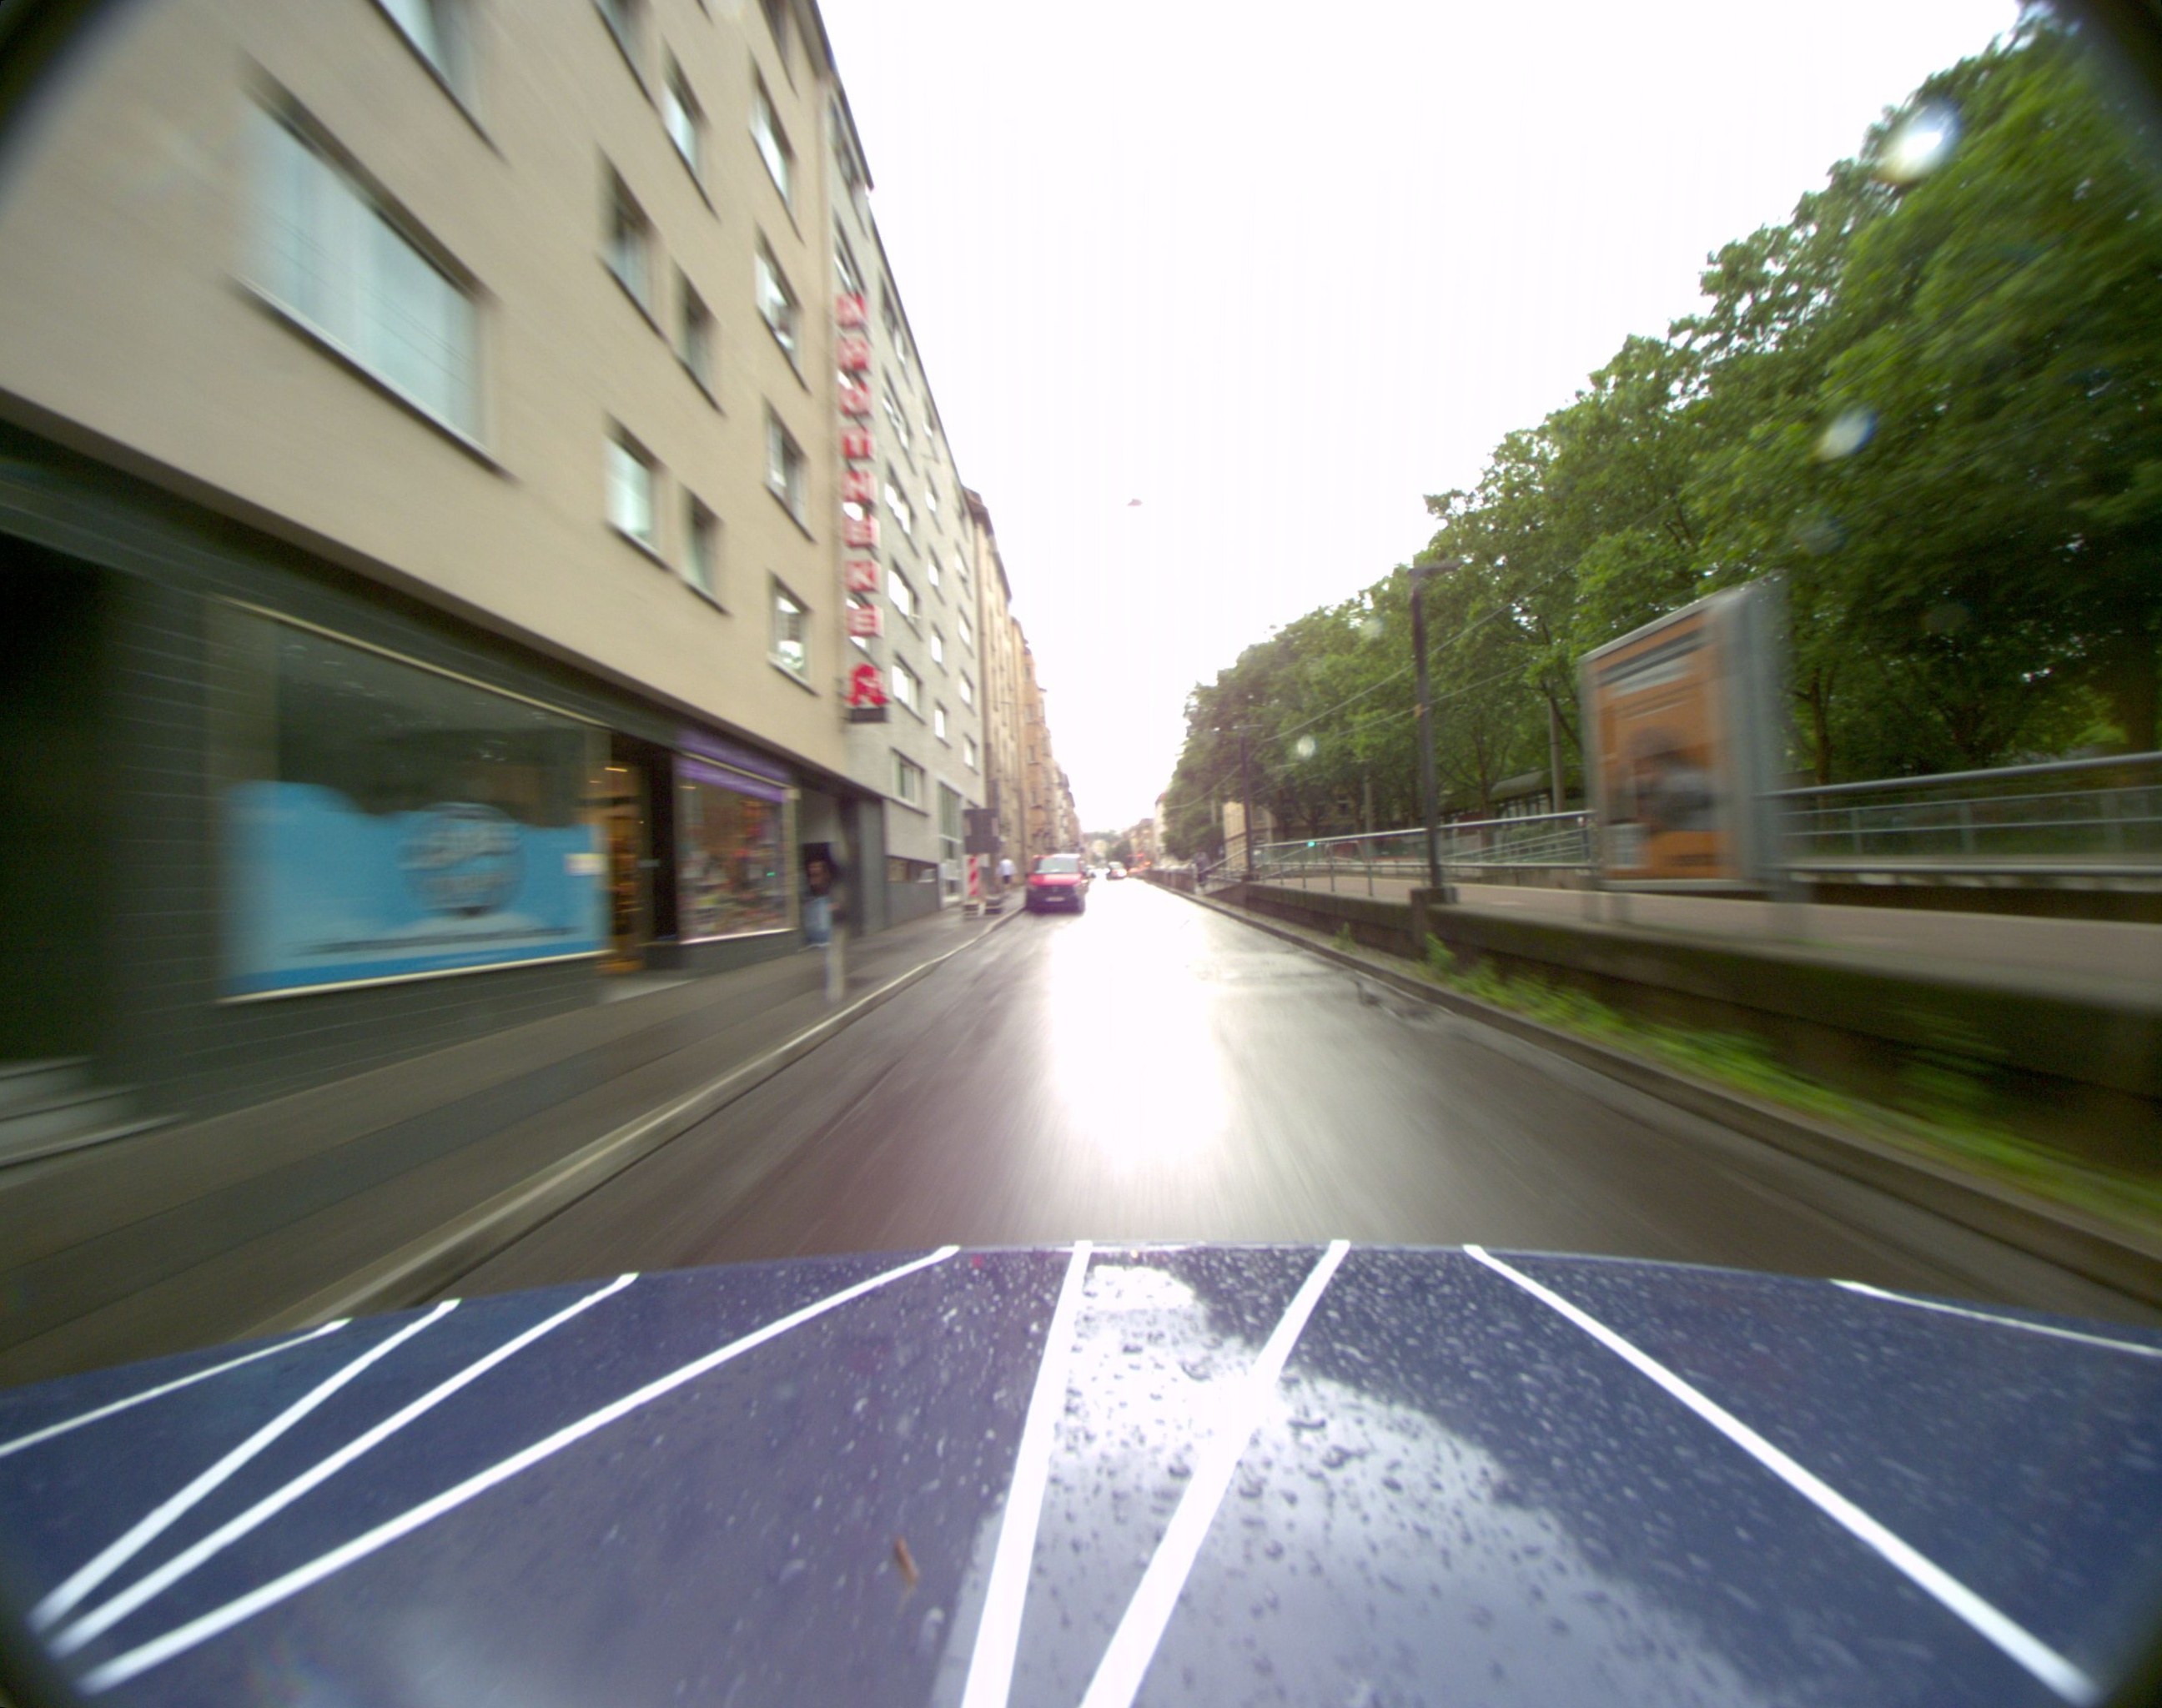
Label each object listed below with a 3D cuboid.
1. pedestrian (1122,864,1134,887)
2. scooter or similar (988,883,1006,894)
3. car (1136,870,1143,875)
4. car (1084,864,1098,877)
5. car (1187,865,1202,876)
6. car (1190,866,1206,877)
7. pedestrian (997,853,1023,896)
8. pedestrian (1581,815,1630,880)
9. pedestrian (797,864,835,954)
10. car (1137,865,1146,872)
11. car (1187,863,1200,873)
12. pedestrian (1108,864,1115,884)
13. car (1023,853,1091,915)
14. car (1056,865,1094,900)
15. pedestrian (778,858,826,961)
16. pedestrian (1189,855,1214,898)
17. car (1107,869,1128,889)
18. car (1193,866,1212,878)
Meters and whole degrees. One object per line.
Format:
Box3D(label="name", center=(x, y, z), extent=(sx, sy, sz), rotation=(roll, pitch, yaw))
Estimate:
Box3D(label="pedestrian", center=(3.548, 1.635, 57.371), extent=(0.651, 1.694, 0.662), rotation=(-3, -1, 24))
Box3D(label="scooter or similar", center=(-3.937, 1.617, 35.531), extent=(0.858, 0.503, 0.258), rotation=(-2, 0, 32))
Box3D(label="car", center=(16.566, 5.262, 214.984), extent=(1.571, 1.159, 2.910), rotation=(-2, -2, -2))
Box3D(label="car", center=(1.256, 2.085, 94.883), extent=(1.745, 1.576, 4.001), rotation=(-2, -2, 1))
Box3D(label="car", center=(16.196, 2.346, 108.718), extent=(1.646, 1.392, 3.517), rotation=(-3, -2, 0))
Box3D(label="car", center=(16.090, 2.457, 104.325), extent=(1.646, 1.392, 3.517), rotation=(-3, -2, 0))
Box3D(label="pedestrian", center=(-2.971, 0.851, 31.930), extent=(0.853, 1.747, 0.837), rotation=(-4, 0, 2))
Box3D(label="pedestrian", center=(13.923, -0.157, 20.193), extent=(0.659, 1.652, 0.688), rotation=(-3, -4, 1))
Box3D(label="pedestrian", center=(-4.918, 1.009, 14.119), extent=(0.482, 1.635, 0.331), rotation=(-3, 0, 3))
Box3D(label="car", center=(14.636, 3.561, 184.261), extent=(1.687, 1.468, 3.312), rotation=(-4, -1, -3))
Box3D(label="car", center=(16.955, 2.159, 114.636), extent=(1.484, 1.392, 3.283), rotation=(-2, -2, -1))
Box3D(label="pedestrian", center=(2.471, 1.621, 61.098), extent=(0.481, 1.629, 0.433), rotation=(-3, -1, -3))
Box3D(label="car", center=(-0.744, 0.942, 25.817), extent=(1.980, 1.827, 5.245), rotation=(-2, 0, 0))
Box3D(label="car", center=(-0.266, 1.504, 41.312), extent=(1.770, 1.698, 4.501), rotation=(-3, -1, 2))
Box3D(label="pedestrian", center=(-4.797, 0.947, 13.088), extent=(0.462, 1.710, 0.516), rotation=(-3, 1, 10))
Box3D(label="pedestrian", center=(5.199, 0.967, 32.883), extent=(0.861, 1.788, 0.787), rotation=(-3, -1, 1))
Box3D(label="car", center=(3.119, 2.212, 66.090), extent=(1.620, 1.592, 4.068), rotation=(-2, -2, 0))
Box3D(label="car", center=(15.932, 2.395, 99.863), extent=(1.891, 1.468, 3.808), rotation=(-4, -1, 2))
